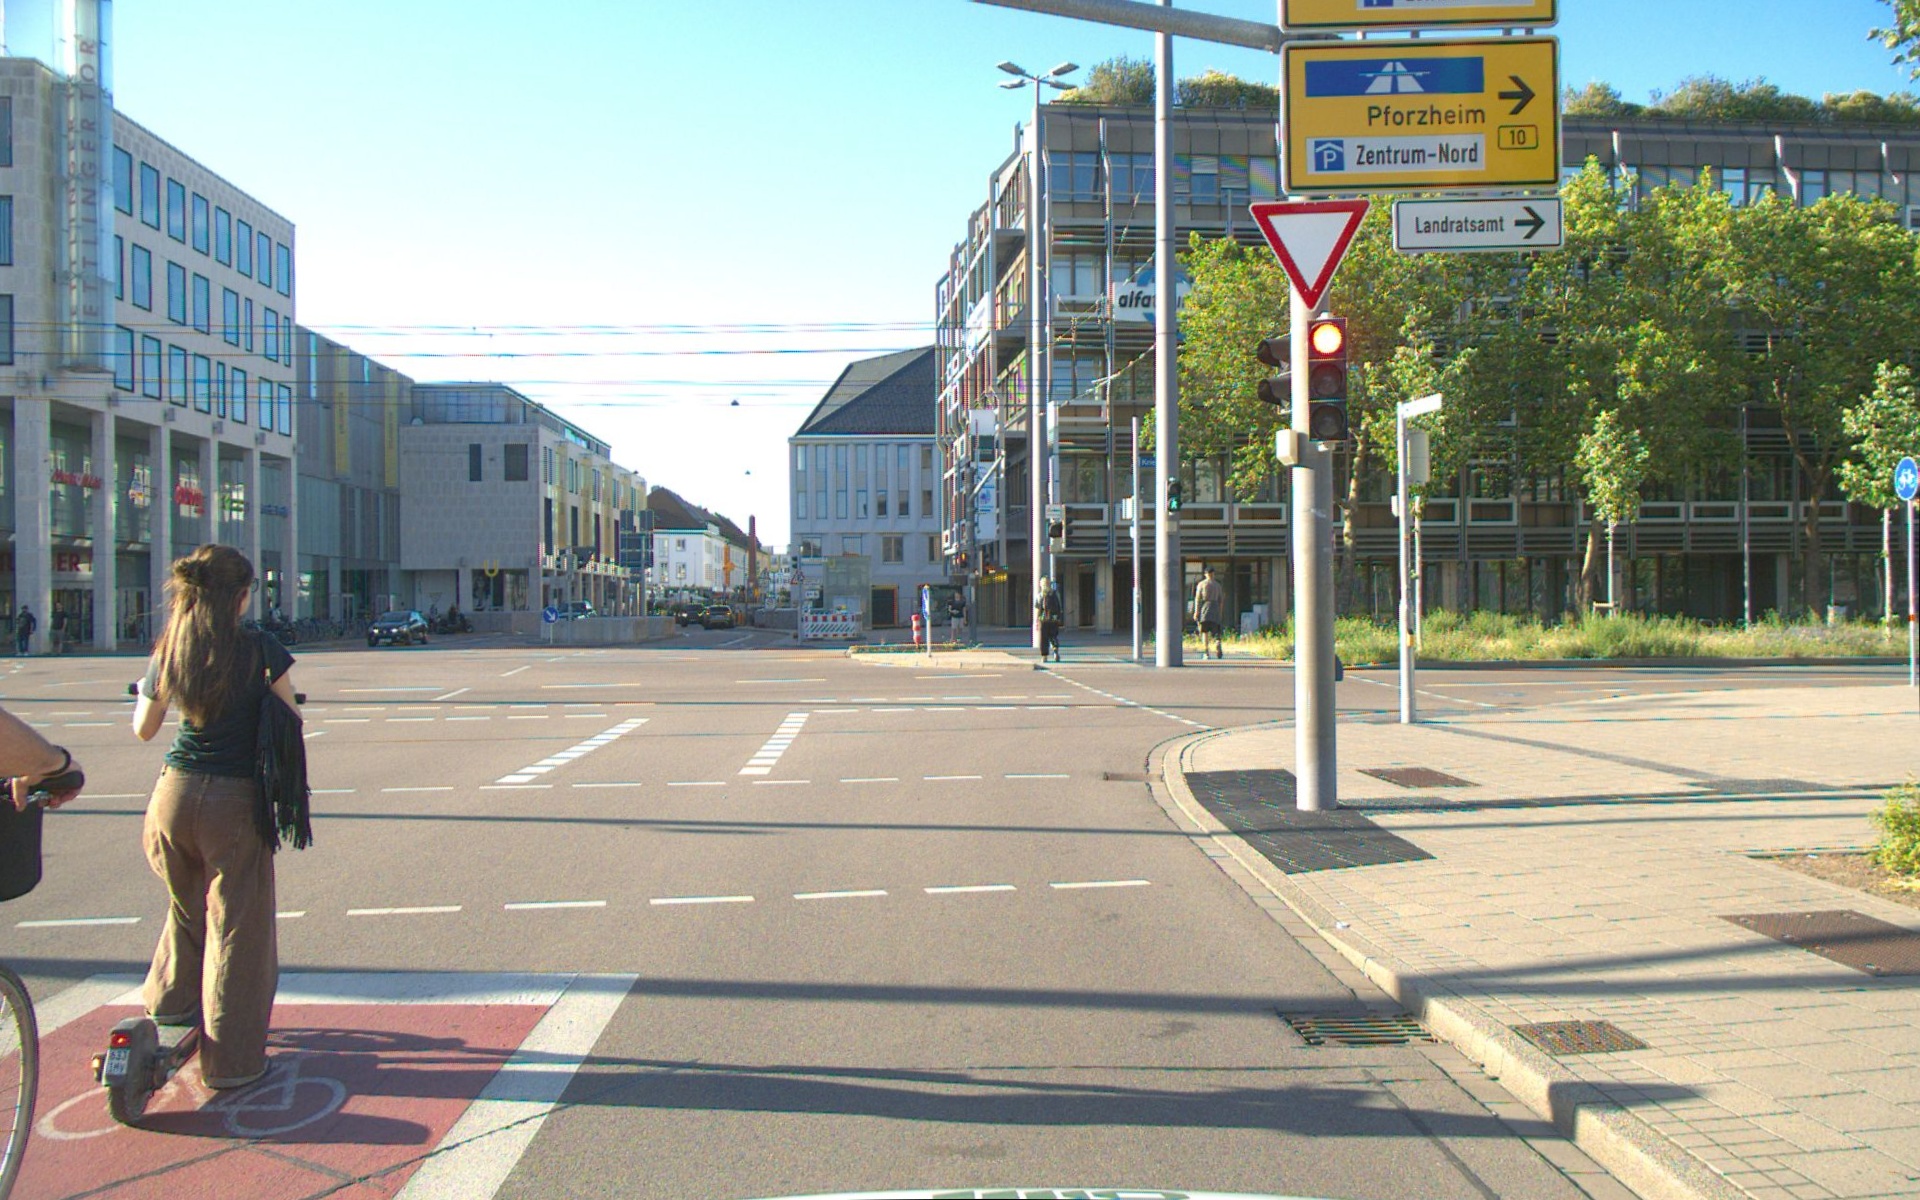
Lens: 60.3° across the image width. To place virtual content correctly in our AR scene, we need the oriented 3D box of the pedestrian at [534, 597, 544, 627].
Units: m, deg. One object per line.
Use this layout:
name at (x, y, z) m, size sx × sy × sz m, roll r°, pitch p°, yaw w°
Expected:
pedestrian at (-29.513, 0.841, 115.994) m, size 0.606 × 2.049 × 0.476 m, roll 1°, pitch -1°, yaw -16°

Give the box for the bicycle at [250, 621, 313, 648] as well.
bicycle at (-29.380, 1.492, 71.620) m, size 2.417 × 1.130 × 0.684 m, roll -1°, pitch 0°, yaw 0°

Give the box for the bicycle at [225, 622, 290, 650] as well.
bicycle at (-29.481, 1.507, 69.444) m, size 2.417 × 1.130 × 0.684 m, roll -1°, pitch 0°, yaw -1°

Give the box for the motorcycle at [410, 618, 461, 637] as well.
motorcycle at (-29.736, 1.580, 93.882) m, size 2.617 × 1.013 × 0.915 m, roll 1°, pitch 0°, yaw -8°

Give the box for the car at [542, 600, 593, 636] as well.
car at (-19.790, 0.892, 83.496) m, size 1.900 × 1.707 × 4.289 m, roll -1°, pitch 0°, yaw -5°

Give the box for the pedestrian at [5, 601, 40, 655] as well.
pedestrian at (-36.145, 1.062, 63.791) m, size 0.898 × 2.049 × 1.020 m, roll 0°, pitch 0°, yaw -13°

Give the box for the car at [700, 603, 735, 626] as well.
car at (-15.825, 0.974, 108.084) m, size 1.898 × 1.475 × 4.258 m, roll 0°, pitch -1°, yaw -4°

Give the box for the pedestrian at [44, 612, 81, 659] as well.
pedestrian at (-31.116, 1.229, 57.365) m, size 0.827 × 1.598 × 0.939 m, roll -1°, pitch 0°, yaw 45°

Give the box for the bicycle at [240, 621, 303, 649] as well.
bicycle at (-29.460, 1.503, 70.810) m, size 2.416 × 1.130 × 0.684 m, roll -1°, pitch 0°, yaw 1°

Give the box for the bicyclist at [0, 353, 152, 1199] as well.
bicyclist at (-1.979, 0.430, 2.958) m, size 0.685 × 1.698 × 0.786 m, roll -1°, pitch 0°, yaw -3°

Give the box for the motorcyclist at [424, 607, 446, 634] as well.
motorcyclist at (-29.809, 1.173, 93.863) m, size 1.017 × 1.497 × 0.915 m, roll 1°, pitch 0°, yaw -8°

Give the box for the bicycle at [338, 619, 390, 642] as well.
bicycle at (-30.728, 1.564, 85.294) m, size 2.417 × 1.130 × 0.631 m, roll -1°, pitch 0°, yaw 0°

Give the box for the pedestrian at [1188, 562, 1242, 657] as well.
pedestrian at (4.850, 0.172, 31.503) m, size 0.839 × 1.774 × 0.738 m, roll -1°, pitch 1°, yaw -9°

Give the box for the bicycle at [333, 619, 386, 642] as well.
bicycle at (-30.642, 1.555, 84.423) m, size 2.417 × 1.130 × 0.660 m, roll -1°, pitch 0°, yaw 0°

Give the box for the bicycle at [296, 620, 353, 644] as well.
bicycle at (-30.233, 1.523, 78.735) m, size 2.417 × 1.130 × 0.684 m, roll -1°, pitch 0°, yaw 0°

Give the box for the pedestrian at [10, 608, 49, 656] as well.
pedestrian at (-32.678, 1.114, 58.097) m, size 1.000 × 1.680 × 0.933 m, roll 0°, pitch 0°, yaw -43°

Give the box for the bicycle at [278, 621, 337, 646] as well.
bicycle at (-29.571, 1.519, 74.966) m, size 2.417 × 1.130 × 0.593 m, roll -1°, pitch 0°, yaw 0°

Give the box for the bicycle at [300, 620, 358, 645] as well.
bicycle at (-29.723, 1.521, 77.958) m, size 2.417 × 1.130 × 0.835 m, roll -1°, pitch 0°, yaw 0°

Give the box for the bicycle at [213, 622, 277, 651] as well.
bicycle at (-29.436, 1.507, 68.099) m, size 2.354 × 1.132 × 0.658 m, roll -1°, pitch 0°, yaw -1°

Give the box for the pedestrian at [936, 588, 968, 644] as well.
pedestrian at (-0.272, 0.547, 57.218) m, size 0.990 × 1.944 × 1.051 m, roll 0°, pitch 0°, yaw 7°

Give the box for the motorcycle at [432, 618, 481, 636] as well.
motorcycle at (-29.609, 1.596, 97.332) m, size 2.617 × 1.013 × 0.915 m, roll 1°, pitch 0°, yaw -8°

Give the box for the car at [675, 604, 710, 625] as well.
car at (-22.556, 1.271, 139.591) m, size 2.130 × 1.722 × 5.485 m, roll 0°, pitch -1°, yaw -1°

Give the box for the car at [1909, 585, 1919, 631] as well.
car at (38.421, 0.307, 62.018) m, size 4.764 × 1.709 × 1.996 m, roll 0°, pitch 1°, yaw -10°

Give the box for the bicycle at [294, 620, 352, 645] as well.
bicycle at (-29.674, 1.519, 77.111) m, size 2.417 × 1.130 × 0.684 m, roll -1°, pitch 0°, yaw 0°

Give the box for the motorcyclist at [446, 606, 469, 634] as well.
motorcyclist at (-29.579, 1.163, 97.351) m, size 1.115 × 1.602 × 0.915 m, roll 1°, pitch 0°, yaw -8°

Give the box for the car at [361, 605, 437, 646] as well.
car at (-23.579, 1.041, 69.659) m, size 1.899 × 1.608 × 4.292 m, roll -1°, pitch 0°, yaw -3°

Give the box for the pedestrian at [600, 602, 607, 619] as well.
pedestrian at (-28.701, 0.844, 133.076) m, size 0.479 × 1.380 × 0.563 m, roll 1°, pitch -1°, yaw -7°

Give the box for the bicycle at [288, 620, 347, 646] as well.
bicycle at (-29.599, 1.525, 76.192) m, size 2.417 × 1.130 × 0.684 m, roll -1°, pitch 0°, yaw 0°

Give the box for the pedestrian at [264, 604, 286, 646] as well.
pedestrian at (-33.240, 1.200, 80.233) m, size 0.933 × 2.017 × 1.000 m, roll 0°, pitch 0°, yaw -25°

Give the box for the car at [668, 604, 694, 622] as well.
car at (-29.046, 1.374, 172.450) m, size 2.131 × 1.906 × 5.609 m, roll 0°, pitch -1°, yaw -5°

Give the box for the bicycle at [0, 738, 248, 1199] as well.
bicycle at (-1.969, 0.883, 2.927) m, size 0.692 × 1.113 × 1.799 m, roll -1°, pitch 0°, yaw -2°

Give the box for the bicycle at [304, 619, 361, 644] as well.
bicycle at (-30.345, 1.526, 79.985) m, size 2.417 × 1.130 × 0.835 m, roll -1°, pitch 0°, yaw 0°

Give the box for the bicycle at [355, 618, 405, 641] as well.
bicycle at (-30.428, 1.551, 86.792) m, size 2.417 × 1.130 × 0.660 m, roll -1°, pitch 0°, yaw 0°

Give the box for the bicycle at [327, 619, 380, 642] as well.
bicycle at (-30.657, 1.545, 83.654) m, size 2.417 × 1.130 × 0.660 m, roll -1°, pitch 0°, yaw 0°

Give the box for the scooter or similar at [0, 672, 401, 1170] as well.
scooter or similar at (-2.208, 0.848, 4.959) m, size 0.629 × 1.196 × 1.482 m, roll 1°, pitch 0°, yaw -4°

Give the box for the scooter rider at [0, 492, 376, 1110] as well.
scooter rider at (-2.181, 0.512, 4.788) m, size 0.629 × 1.571 × 1.116 m, roll 1°, pitch 0°, yaw -4°

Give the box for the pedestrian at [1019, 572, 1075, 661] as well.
pedestrian at (1.601, 0.289, 30.437) m, size 0.879 × 1.576 × 0.922 m, roll -1°, pitch 1°, yaw -7°
